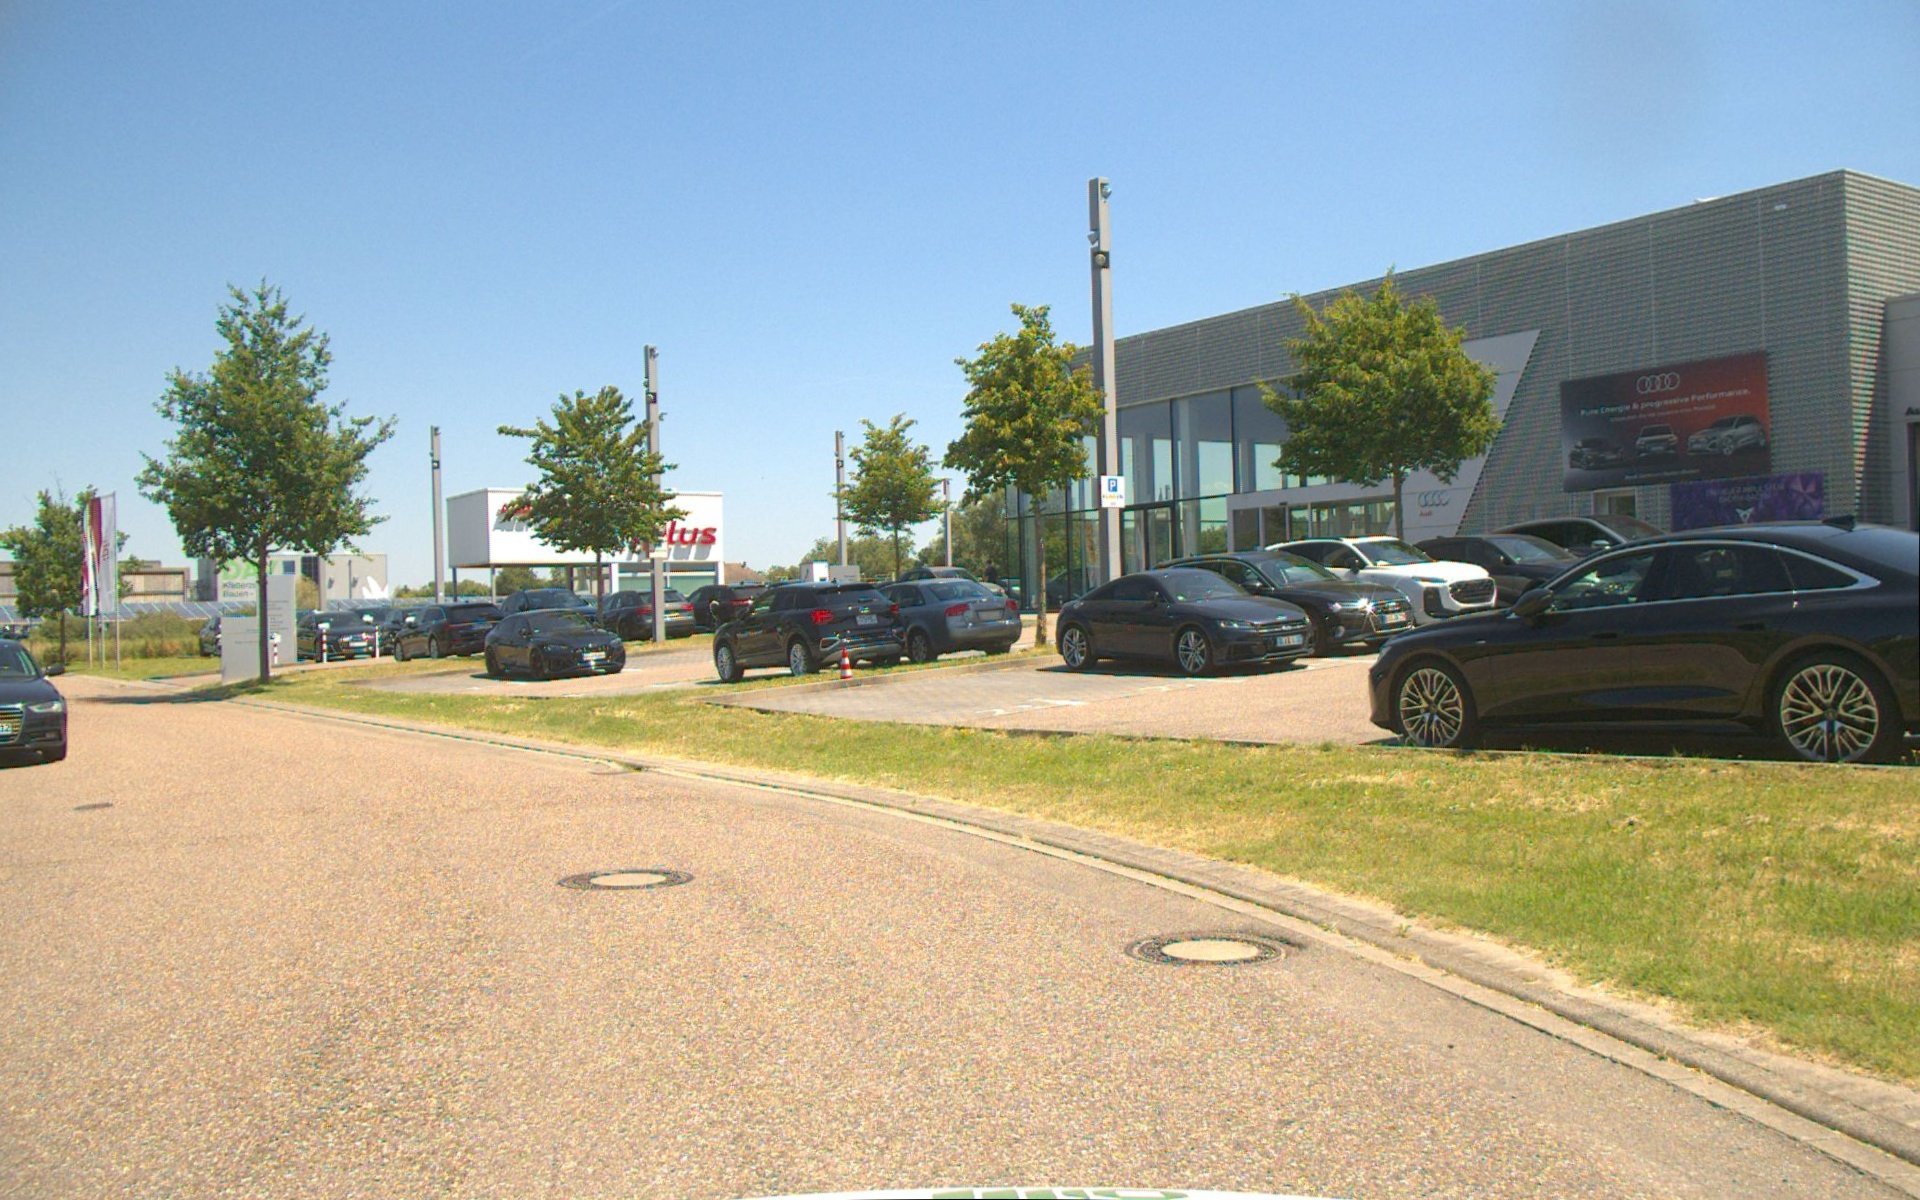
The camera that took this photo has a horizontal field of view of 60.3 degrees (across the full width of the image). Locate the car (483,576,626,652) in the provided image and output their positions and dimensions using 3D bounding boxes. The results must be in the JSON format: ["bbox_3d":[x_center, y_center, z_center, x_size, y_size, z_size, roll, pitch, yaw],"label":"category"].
[{"bbox_3d":[-10.825,0.396,43.897,1.946,1.625,4.924,-4,-1,-35],"label":"car"}]

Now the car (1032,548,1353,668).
[{"bbox_3d":[3.110,0.136,22.907,1.947,1.398,4.256,-5,1,-36],"label":"car"}]

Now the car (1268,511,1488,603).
[{"bbox_3d":[8.901,-0.888,35.558,1.945,1.619,4.376,-6,2,-33],"label":"car"}]

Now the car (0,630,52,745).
[{"bbox_3d":[-15.120,1.325,25.071,1.810,1.597,4.330,-3,0,-36],"label":"car"}]

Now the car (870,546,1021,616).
[{"bbox_3d":[-0.498,-0.538,48.956,1.946,1.648,4.924,-4,-1,-35],"label":"car"}]

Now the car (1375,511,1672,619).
[{"bbox_3d":[9.285,-0.551,27.564,1.947,1.502,4.316,-5,1,-36],"label":"car"}]

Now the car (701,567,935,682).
[{"bbox_3d":[-2.415,0.421,27.279,1.874,1.598,4.173,-6,2,-36],"label":"car"}]

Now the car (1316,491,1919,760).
[{"bbox_3d":[4.964,0.122,11.212,1.865,1.479,4.959,-5,2,-36],"label":"car"}]

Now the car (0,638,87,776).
[{"bbox_3d":[-12.007,1.271,20.116,1.810,1.480,4.522,-3,0,-36],"label":"car"}]

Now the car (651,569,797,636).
[{"bbox_3d":[-6.644,0.099,46.157,1.946,1.482,4.924,-4,-1,-35],"label":"car"}]

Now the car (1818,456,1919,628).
[{"bbox_3d":[10.931,-0.651,15.578,1.810,1.672,4.724,-3,0,-36],"label":"car"}]

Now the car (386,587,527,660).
[{"bbox_3d":[-12.900,0.632,42.142,1.946,1.482,4.924,-4,-1,-35],"label":"car"}]

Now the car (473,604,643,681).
[{"bbox_3d":[-8.802,0.880,35.899,1.946,1.389,4.662,-6,3,-35],"label":"car"}]

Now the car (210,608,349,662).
[{"bbox_3d":[-25.903,1.329,63.024,4.497,1.722,2.004,-4,0,-38],"label":"car"}]

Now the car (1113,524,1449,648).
[{"bbox_3d":[4.721,-0.155,25.038,1.947,1.580,4.941,-5,1,-36],"label":"car"}]

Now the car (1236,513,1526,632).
[{"bbox_3d":[6.724,-0.411,26.789,1.947,1.641,4.233,-5,1,-36],"label":"car"}]

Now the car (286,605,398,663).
[{"bbox_3d":[-19.401,1.090,51.806,2.009,1.540,5.175,-6,2,-34],"label":"car"}]

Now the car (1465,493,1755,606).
[{"bbox_3d":[12.006,-0.896,30.826,1.947,1.769,4.668,-5,1,-36],"label":"car"}]

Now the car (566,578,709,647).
[{"bbox_3d":[-8.837,0.369,45.011,1.946,1.482,4.924,-4,-1,-35],"label":"car"}]

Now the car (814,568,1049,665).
[{"bbox_3d":[-0.575,0.309,28.551,1.947,1.390,4.173,-6,2,-36],"label":"car"}]

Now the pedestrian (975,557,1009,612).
[{"bbox_3d":[1.087,-0.533,56.243,0.763,1.807,0.737,-3,0,-31],"label":"pedestrian"}]
